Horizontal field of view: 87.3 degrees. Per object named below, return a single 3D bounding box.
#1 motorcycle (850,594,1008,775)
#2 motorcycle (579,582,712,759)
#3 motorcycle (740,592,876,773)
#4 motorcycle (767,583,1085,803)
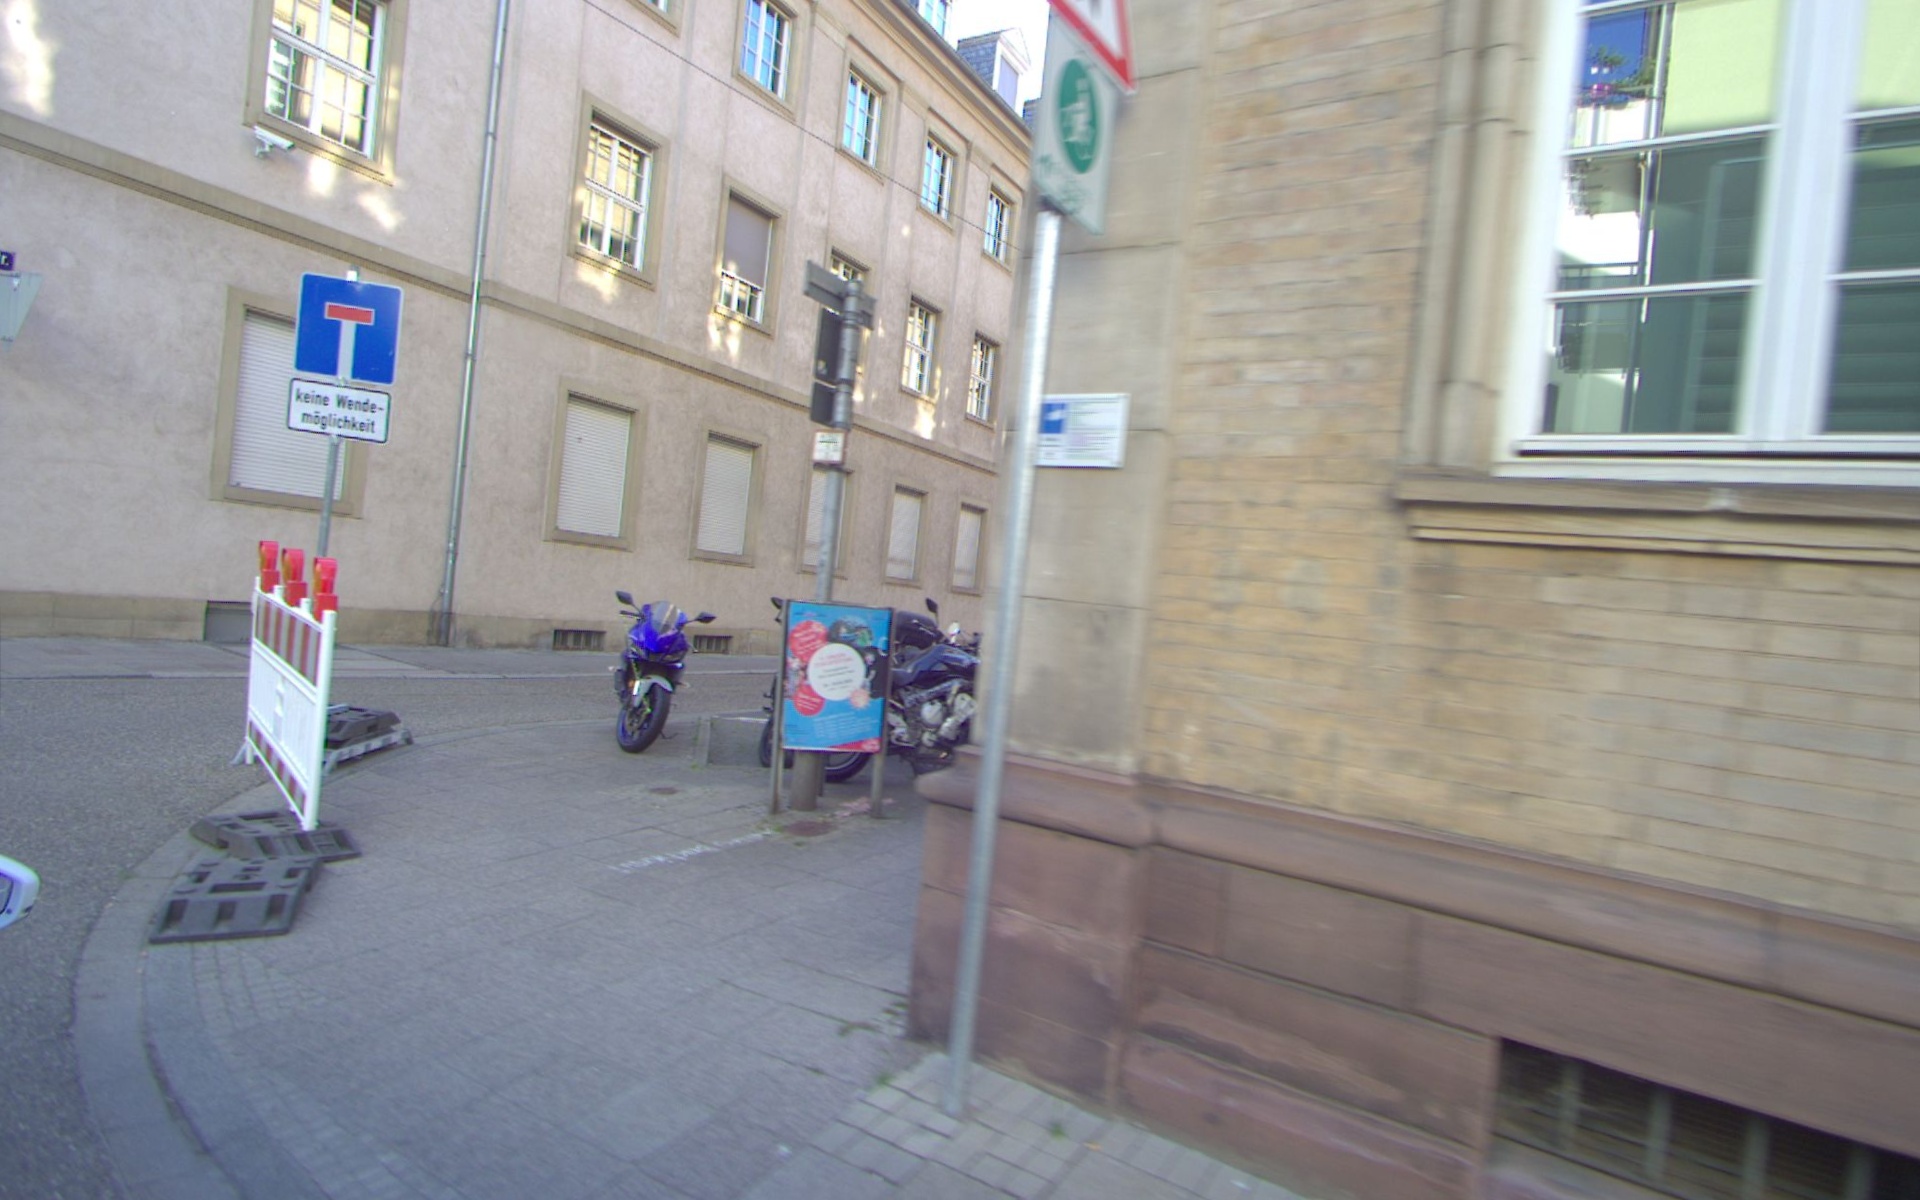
[{"bbox_3d":[-0.345,0.655,8.781,0.816,1.304,2.138,6,0,-14],"label":"motorcycle"},{"bbox_3d":[-2.532,0.504,8.337,0.861,1.240,2.144,4,1,-14],"label":"motorcycle"},{"bbox_3d":[-1.314,0.605,8.318,0.816,1.240,1.948,6,0,-14],"label":"motorcycle"},{"bbox_3d":[-0.256,0.651,7.122,2.046,1.350,0.704,5,1,-15],"label":"motorcycle"}]
